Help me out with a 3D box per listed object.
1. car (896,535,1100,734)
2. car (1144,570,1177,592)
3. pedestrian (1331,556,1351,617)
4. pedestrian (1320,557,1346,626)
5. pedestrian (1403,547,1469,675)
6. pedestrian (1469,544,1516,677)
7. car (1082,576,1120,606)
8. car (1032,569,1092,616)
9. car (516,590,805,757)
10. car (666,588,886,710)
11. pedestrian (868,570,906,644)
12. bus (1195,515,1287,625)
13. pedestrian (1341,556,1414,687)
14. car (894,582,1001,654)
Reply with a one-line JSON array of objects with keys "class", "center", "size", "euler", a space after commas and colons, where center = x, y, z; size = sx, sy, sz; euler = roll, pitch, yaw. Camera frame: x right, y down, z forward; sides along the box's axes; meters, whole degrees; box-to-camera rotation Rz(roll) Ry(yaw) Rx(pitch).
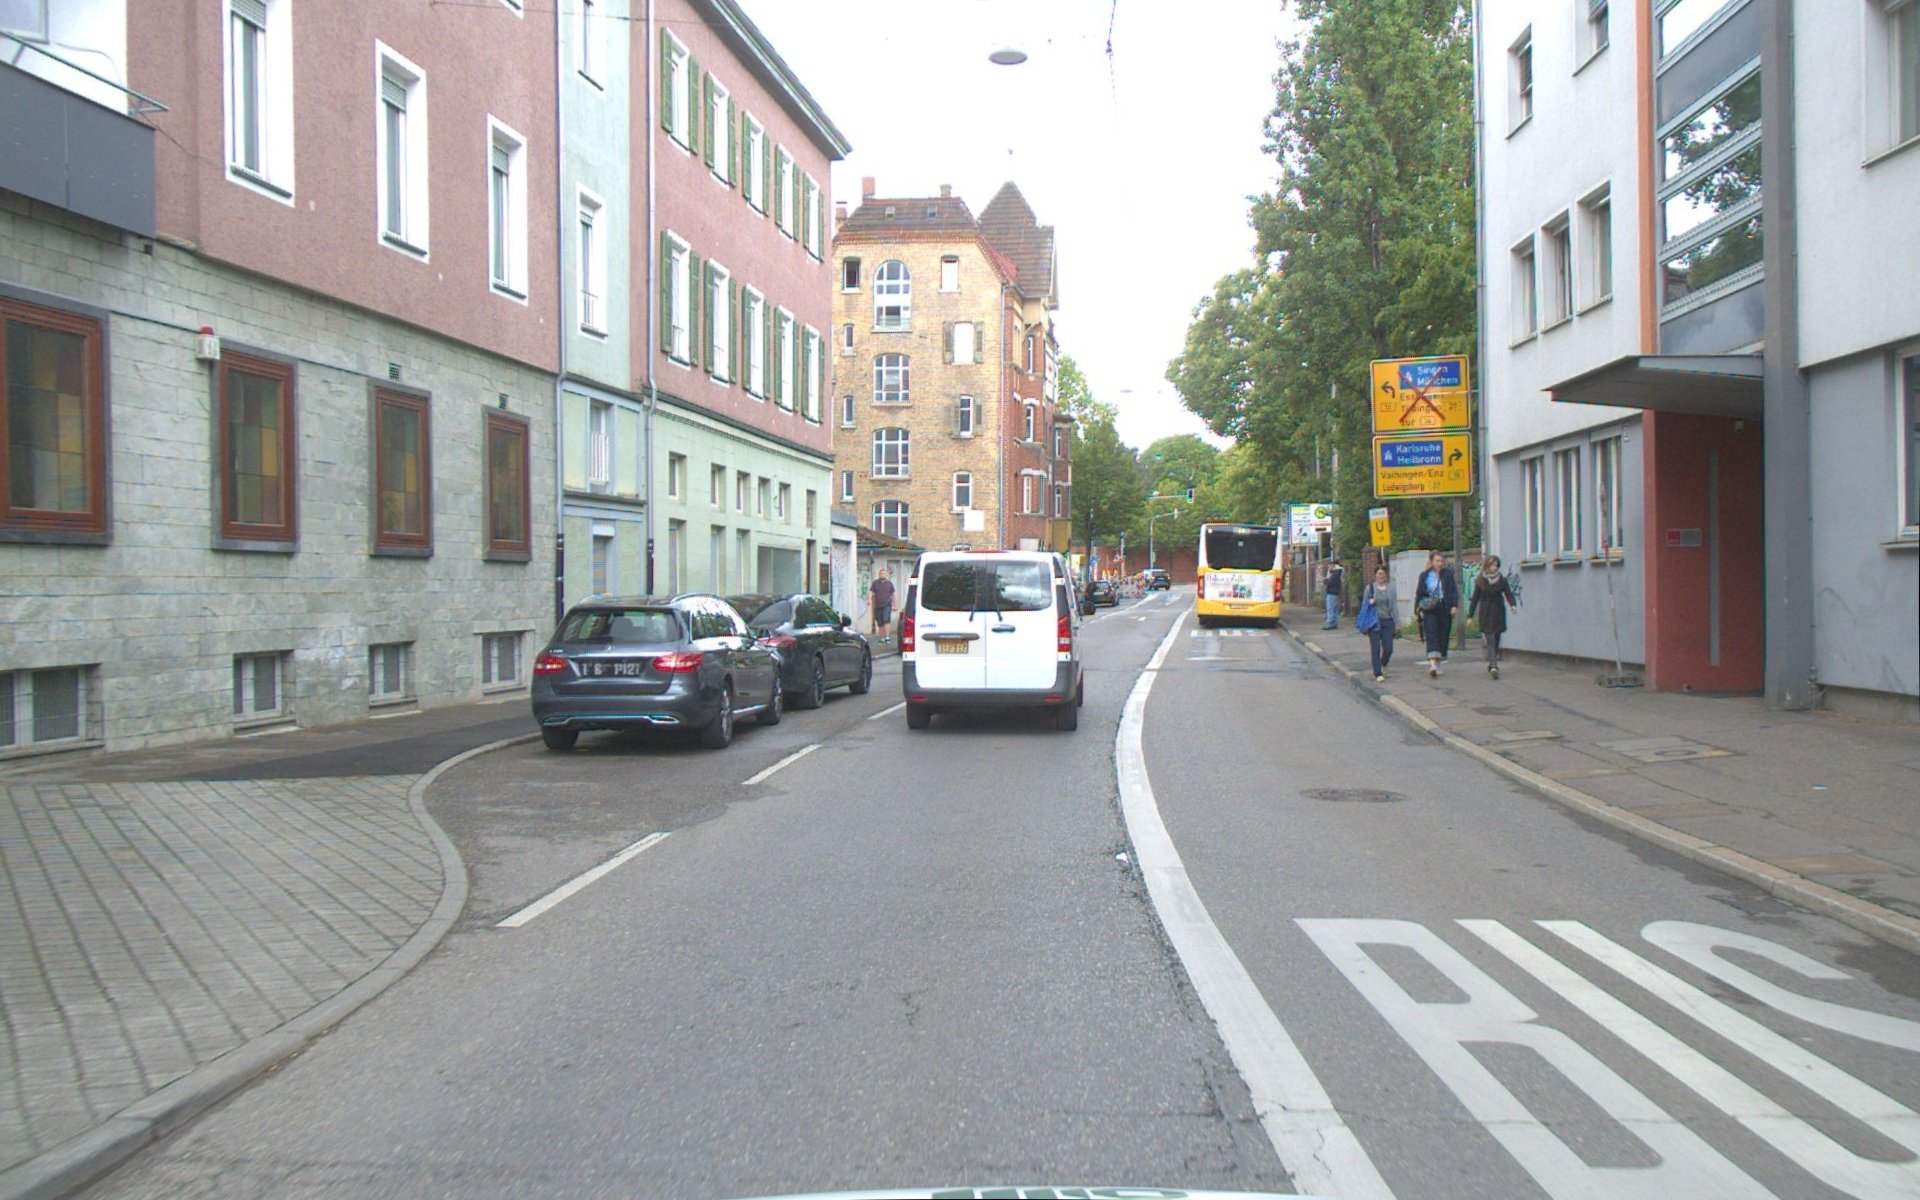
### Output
[{"class": "car", "center": [0.580, 0.382, 19.070], "size": [1.877, 1.935, 4.704], "euler": [2, -1, 6]}, {"class": "car", "center": [15.420, -1.450, 127.334], "size": [1.995, 1.511, 4.391], "euler": [0, 3, -1]}, {"class": "pedestrian", "center": [11.547, -0.421, 50.122], "size": [0.440, 1.809, 0.672], "euler": [-3, 0, 8]}, {"class": "pedestrian", "center": [9.968, -0.221, 44.172], "size": [0.569, 1.810, 0.822], "euler": [1, 0, 8]}, {"class": "pedestrian", "center": [6.893, 0.148, 23.979], "size": [0.672, 1.787, 0.879], "euler": [-3, 1, 3]}, {"class": "pedestrian", "center": [7.334, 0.136, 22.800], "size": [0.531, 1.787, 0.609], "euler": [-2, 1, 16]}, {"class": "car", "center": [7.848, -0.512, 91.627], "size": [1.688, 1.511, 4.395], "euler": [0, 3, 10]}, {"class": "car", "center": [4.088, -0.313, 65.480], "size": [1.912, 1.764, 4.778], "euler": [0, 1, 9]}, {"class": "car", "center": [-2.883, 0.656, 17.000], "size": [1.790, 1.480, 4.587], "euler": [0, 0, 5]}, {"class": "car", "center": [-2.360, 0.597, 22.578], "size": [1.790, 1.480, 4.925], "euler": [0, 0, 8]}, {"class": "pedestrian", "center": [-1.785, 0.169, 40.419], "size": [0.745, 1.774, 0.985], "euler": [2, 0, 6]}, {"class": "bus", "center": [9.098, -0.969, 53.795], "size": [2.606, 3.190, 10.049], "euler": [2, 1, 9]}, {"class": "pedestrian", "center": [6.059, 0.290, 24.034], "size": [0.786, 1.825, 0.943], "euler": [-3, 1, 3]}, {"class": "car", "center": [-0.236, 0.379, 38.746], "size": [1.838, 1.512, 4.131], "euler": [1, 1, 9]}]
